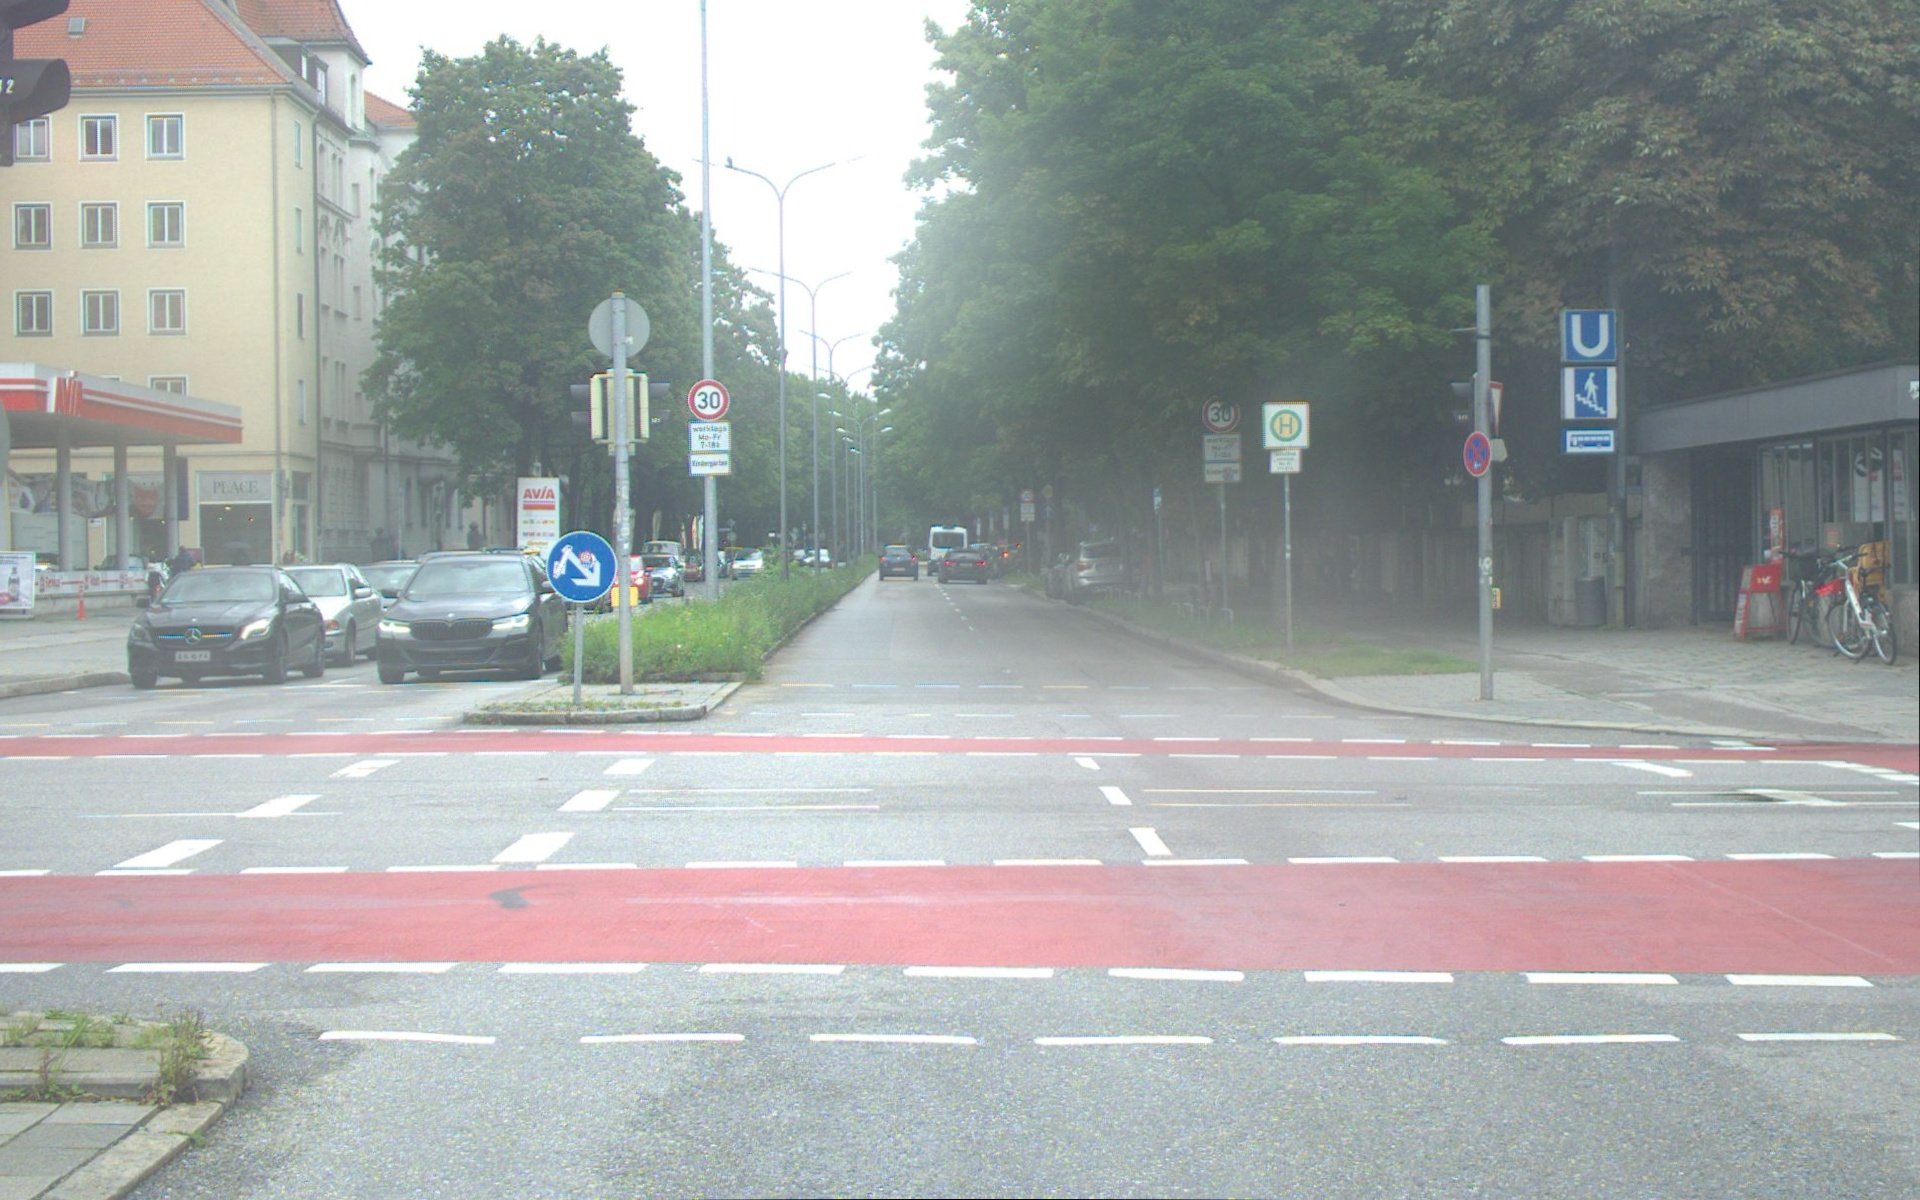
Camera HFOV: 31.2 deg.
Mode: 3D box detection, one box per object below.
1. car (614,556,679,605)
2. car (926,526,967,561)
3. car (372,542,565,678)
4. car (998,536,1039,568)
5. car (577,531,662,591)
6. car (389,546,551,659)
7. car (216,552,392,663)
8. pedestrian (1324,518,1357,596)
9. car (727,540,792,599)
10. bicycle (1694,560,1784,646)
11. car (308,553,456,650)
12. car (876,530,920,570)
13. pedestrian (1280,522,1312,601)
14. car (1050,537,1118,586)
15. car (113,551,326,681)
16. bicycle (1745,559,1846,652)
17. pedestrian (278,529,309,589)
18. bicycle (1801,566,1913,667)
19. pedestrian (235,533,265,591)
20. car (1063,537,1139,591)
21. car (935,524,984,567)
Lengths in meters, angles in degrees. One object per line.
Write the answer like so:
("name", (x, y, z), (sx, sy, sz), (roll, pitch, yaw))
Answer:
("car", (-9.908, -0.631, 108.955), (1.759, 1.488, 4.000), (-1, 1, -1))
("car", (-0.717, -2.878, 175.615), (1.993, 1.750, 4.000), (-1, 1, -1))
("car", (-5.737, 0.077, 40.507), (1.759, 1.488, 4.000), (-1, 1, -1))
("car", (2.681, -2.238, 159.317), (1.743, 1.422, 3.899), (-1, 1, -1))
("car", (-9.718, -1.126, 98.278), (1.876, 1.662, 4.000), (0, 1, 2))
("car", (-6.831, 0.002, 48.269), (1.759, 1.488, 4.000), (-1, 1, -1))
("car", (-9.141, 0.074, 48.183), (1.759, 1.455, 4.000), (-1, 1, -1))
("pedestrian", (8.190, -0.931, 74.047), (0.678, 1.677, 0.682), (0, 1, 5))
("car", (-4.966, -0.772, 85.384), (1.468, 1.394, 3.700), (-1, 1, -1))
("bicycle", (9.551, 0.020, 42.218), (0.556, 1.011, 2.016), (-1, 1, -3))
("car", (-9.235, -0.001, 55.177), (1.759, 1.455, 4.000), (-1, 1, -1))
("car", (-2.670, -2.181, 148.292), (1.857, 1.678, 4.000), (-1, 1, -1))
("pedestrian", (7.212, -0.826, 73.871), (0.678, 1.677, 0.682), (0, 1, 5))
("car", (3.570, -1.133, 99.731), (1.743, 1.358, 3.807), (-1, 1, -1))
("car", (-8.859, 0.153, 41.438), (1.759, 1.455, 4.000), (-1, 1, -1))
("bicycle", (9.419, 0.049, 38.837), (0.556, 1.011, 2.016), (-1, 1, -3))
("pedestrian", (-18.229, -1.119, 93.991), (0.696, 1.632, 0.738), (-1, 1, -1))
("bicycle", (9.408, 0.161, 36.104), (0.556, 1.011, 2.016), (-1, 1, -3))
("pedestrian", (-20.448, -1.097, 99.051), (0.696, 1.632, 0.738), (-1, 1, -1))
("car", (3.654, -0.951, 89.724), (1.743, 1.358, 3.807), (-1, 1, -1))
("car", (-0.029, -2.199, 138.580), (1.922, 1.678, 4.000), (1, 1, -1))
